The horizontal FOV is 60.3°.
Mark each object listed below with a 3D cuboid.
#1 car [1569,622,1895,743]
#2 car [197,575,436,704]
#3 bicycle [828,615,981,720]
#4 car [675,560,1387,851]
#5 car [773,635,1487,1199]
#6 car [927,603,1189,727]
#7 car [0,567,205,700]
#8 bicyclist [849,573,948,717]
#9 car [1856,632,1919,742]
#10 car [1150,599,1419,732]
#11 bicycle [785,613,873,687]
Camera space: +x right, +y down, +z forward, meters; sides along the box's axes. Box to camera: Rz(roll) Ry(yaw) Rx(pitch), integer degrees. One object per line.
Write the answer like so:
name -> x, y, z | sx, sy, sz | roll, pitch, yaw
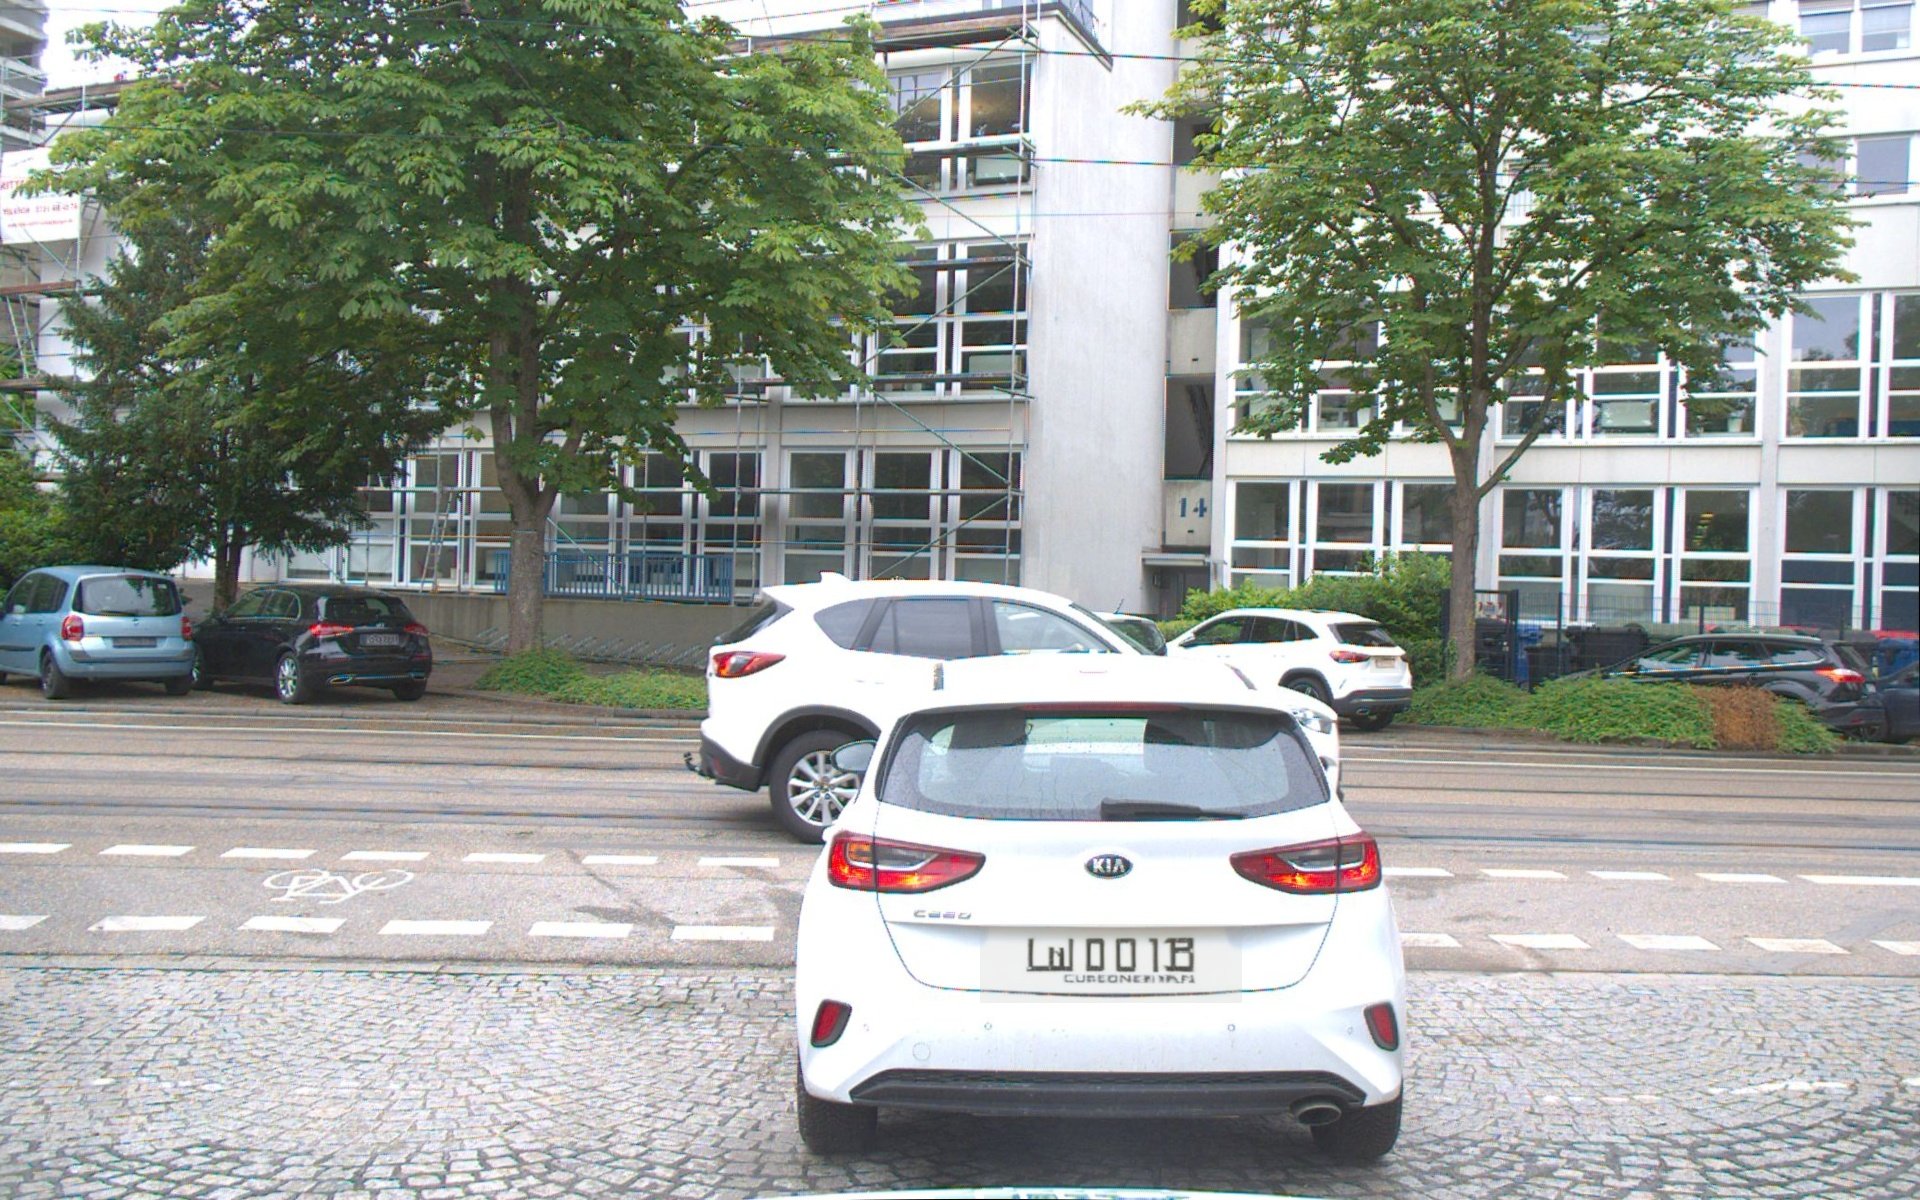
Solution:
car -> 10.807, 1.092, 23.284 | 3.881, 1.499, 1.665 | 1, 0, 40
car -> -8.351, 0.466, 21.373 | 3.279, 1.537, 1.608 | 1, 0, 43
bicycle -> -0.711, 0.812, 20.587 | 1.883, 1.194, 0.816 | 2, 0, 44
car -> 0.424, 0.665, 11.487 | 4.495, 1.733, 1.999 | 2, 1, -4
car -> 0.496, 0.873, 6.051 | 1.738, 1.458, 3.979 | 1, -1, 2
car -> 1.264, 0.822, 22.213 | 1.545, 1.499, 3.352 | 1, 0, -44
car -> -11.216, 0.382, 21.261 | 3.279, 1.564, 1.608 | 1, 0, 43
bicyclist -> -0.765, 0.548, 20.635 | 0.882, 1.727, 0.828 | 1, 0, 44
car -> 14.384, 1.229, 22.802 | 3.331, 1.499, 1.407 | 1, 0, 43
car -> 4.395, 0.841, 22.692 | 1.545, 1.646, 3.352 | 1, 0, -44
bicycle -> -2.225, 0.831, 28.427 | 0.631, 1.093, 2.313 | 2, 2, 19
